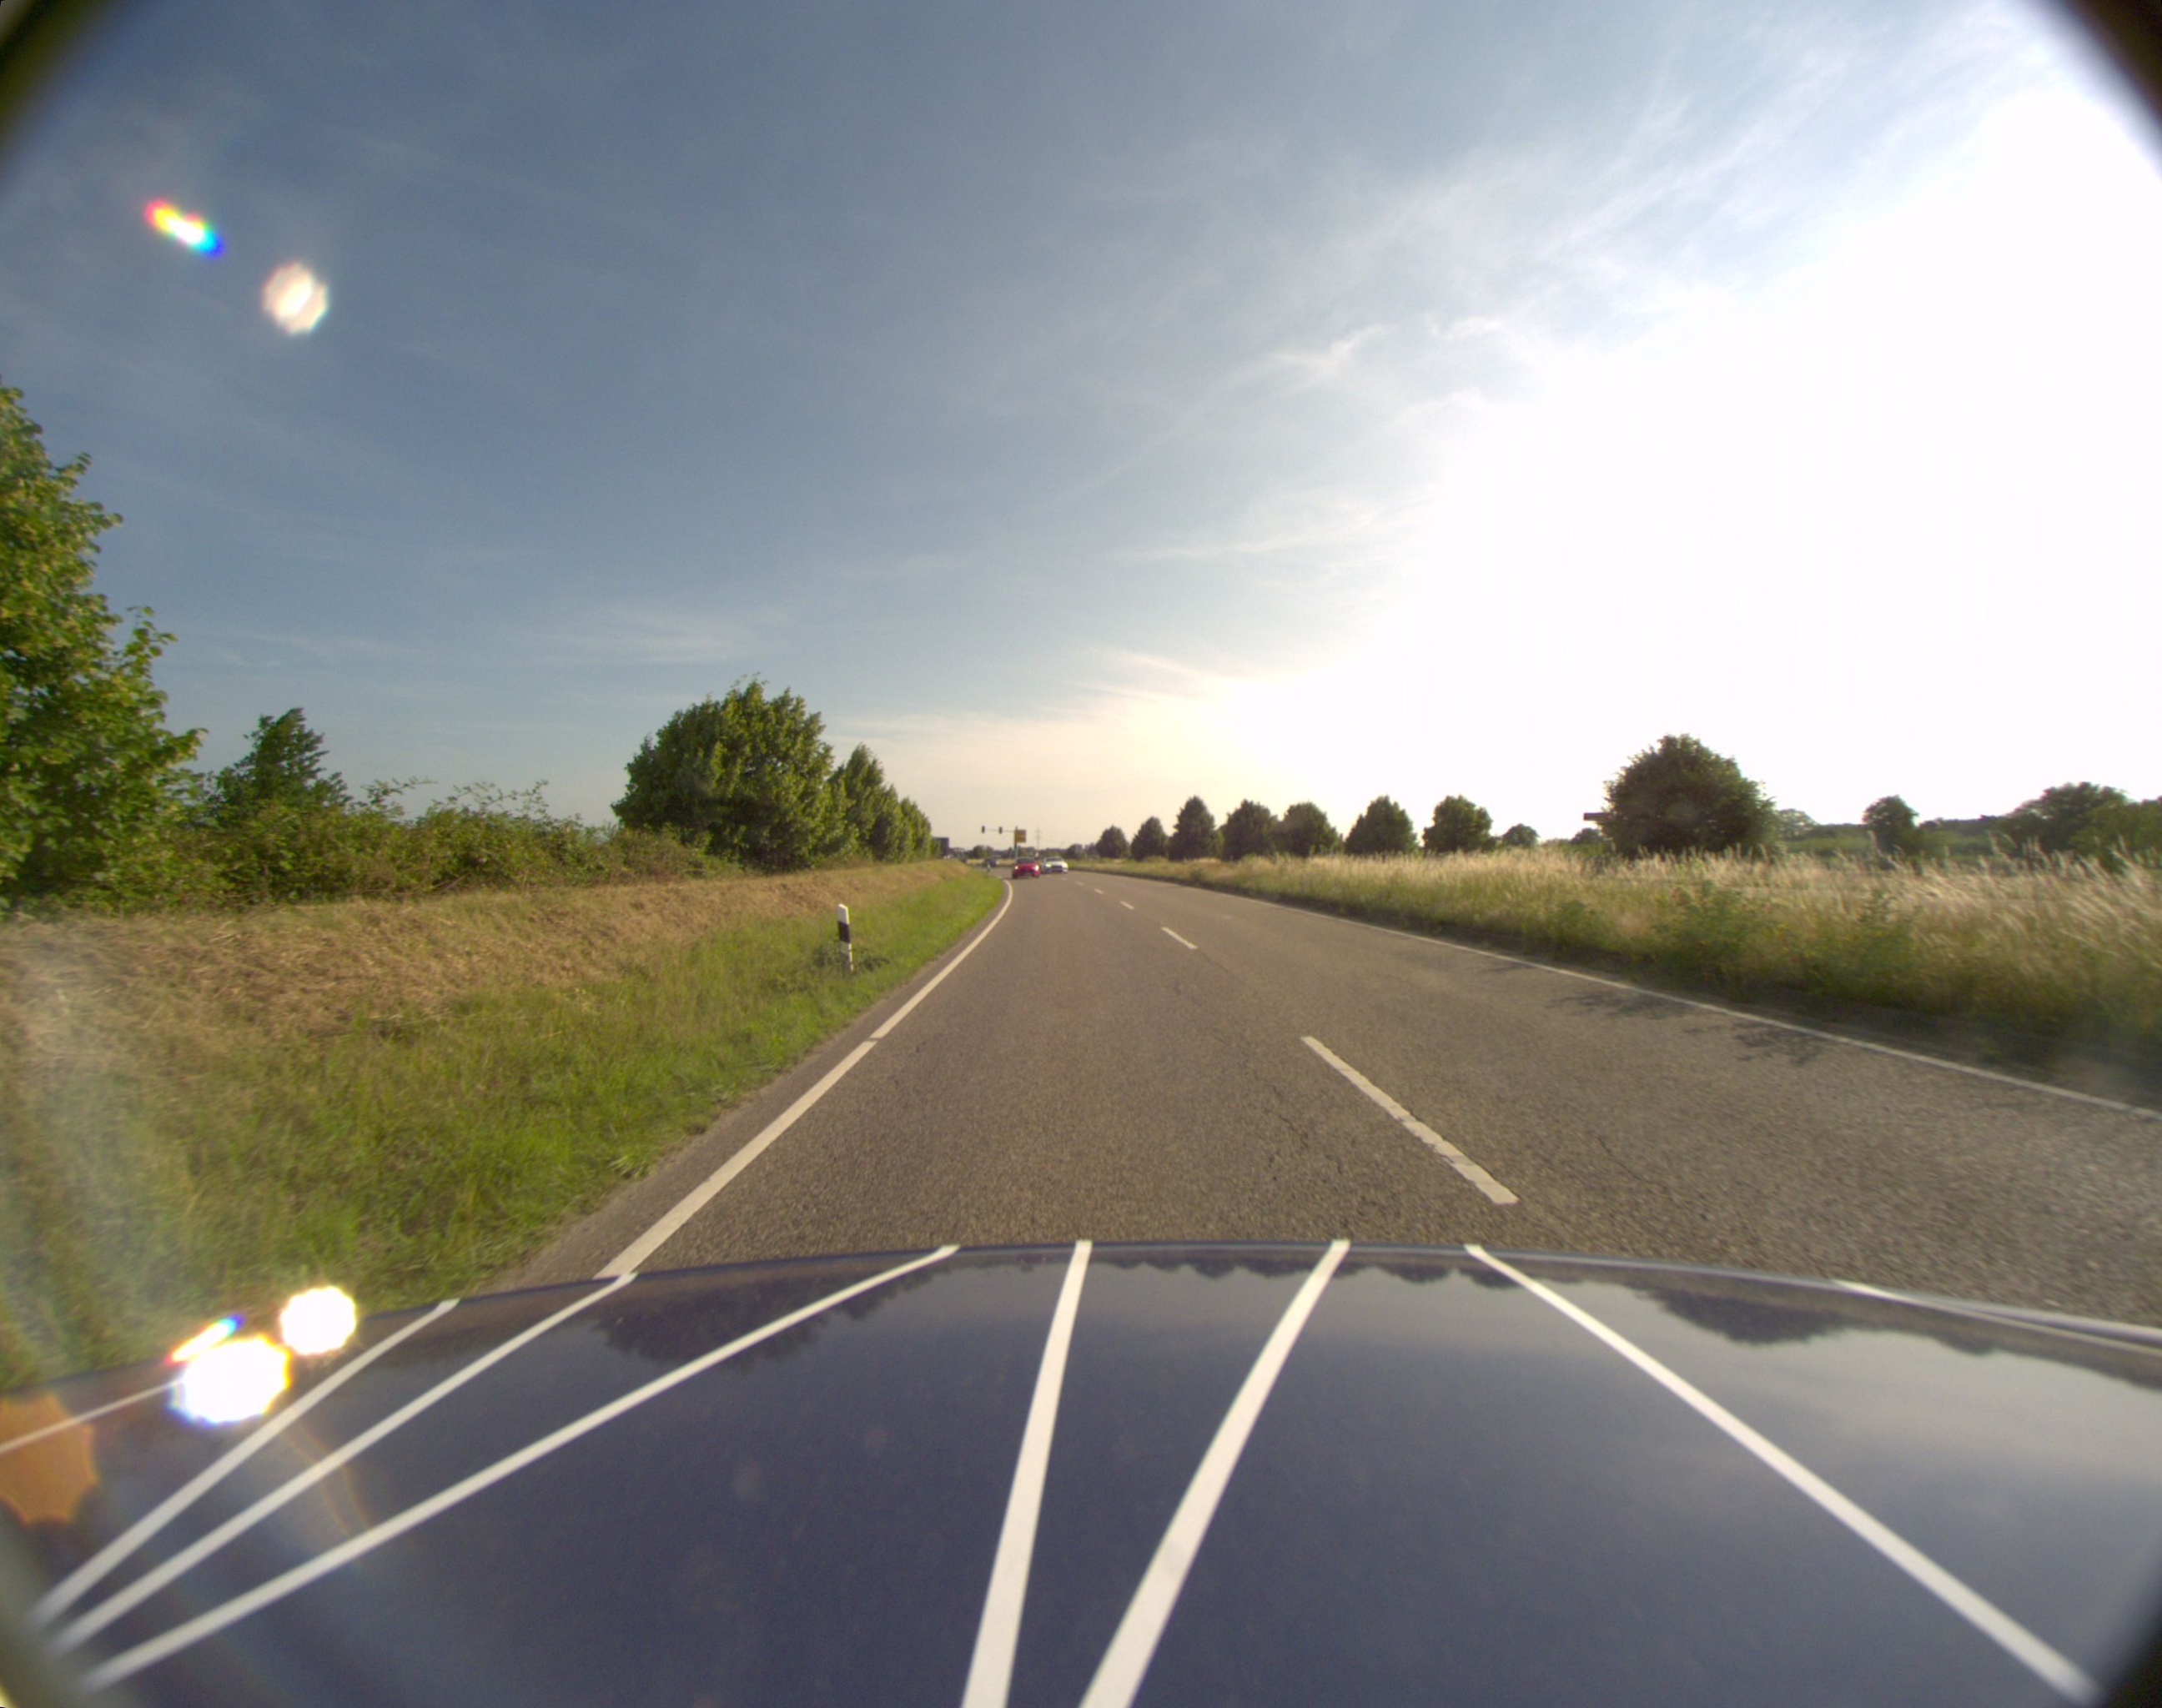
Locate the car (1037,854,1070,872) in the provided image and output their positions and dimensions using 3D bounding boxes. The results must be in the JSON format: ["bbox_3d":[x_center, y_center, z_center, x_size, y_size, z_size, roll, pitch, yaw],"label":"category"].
[{"bbox_3d":[-2.342,0.698,63.056,1.878,1.390,4.199,-1,1,-14],"label":"car"}]

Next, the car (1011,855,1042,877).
[{"bbox_3d":[-3.901,0.817,53.871,1.667,1.455,3.950,-2,1,-11],"label":"car"}]

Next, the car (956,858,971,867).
[{"bbox_3d":[-20.037,1.477,129.660,1.834,1.521,3.993,-1,0,-19],"label":"car"}]

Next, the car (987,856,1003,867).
[{"bbox_3d":[-12.177,1.075,106.901,1.753,1.521,3.995,-1,0,-13],"label":"car"}]
